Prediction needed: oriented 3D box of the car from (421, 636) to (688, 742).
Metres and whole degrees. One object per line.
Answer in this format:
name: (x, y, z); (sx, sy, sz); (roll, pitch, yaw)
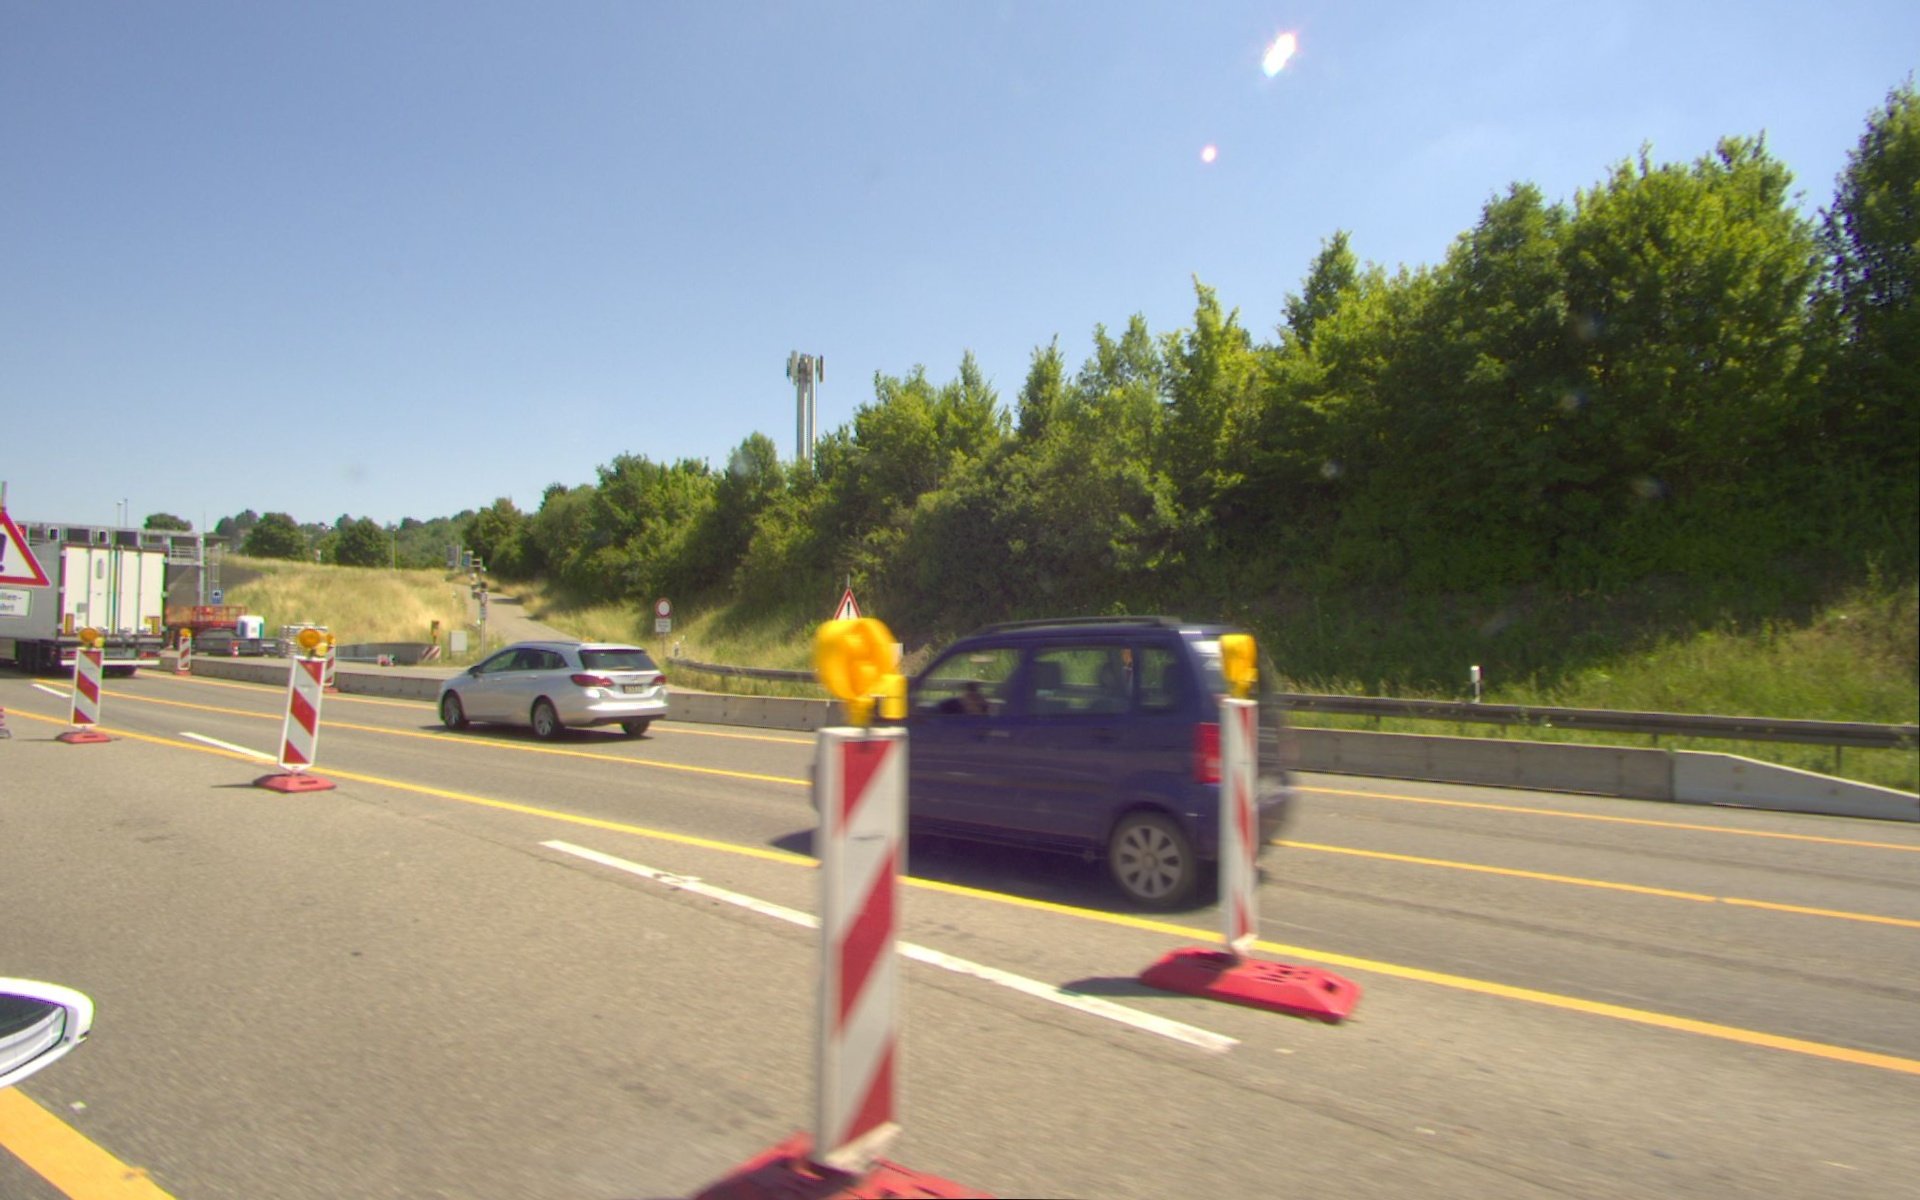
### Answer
car: (-6.653, 1.353, 16.248); (4.590, 1.483, 1.811); (-1, -3, 35)

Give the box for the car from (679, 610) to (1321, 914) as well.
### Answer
car: (0.133, 0.965, 7.546); (4.589, 1.663, 1.811); (-1, -3, 35)

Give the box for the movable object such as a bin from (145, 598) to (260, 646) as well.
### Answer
movable object such as a bin: (-52.186, 1.503, 68.721); (14.527, 3.050, 3.097); (-1, 0, 40)

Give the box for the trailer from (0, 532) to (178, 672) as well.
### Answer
trailer: (-30.997, 0.251, 34.665); (13.917, 4.113, 2.724); (-1, -3, 38)

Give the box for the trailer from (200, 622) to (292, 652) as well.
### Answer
trailer: (-41.812, 2.132, 58.566); (6.153, 1.589, 2.586); (-1, 0, 36)

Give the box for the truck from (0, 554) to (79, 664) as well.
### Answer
truck: (-37.580, 0.421, 39.743); (5.851, 4.084, 2.737); (-1, -3, 37)
